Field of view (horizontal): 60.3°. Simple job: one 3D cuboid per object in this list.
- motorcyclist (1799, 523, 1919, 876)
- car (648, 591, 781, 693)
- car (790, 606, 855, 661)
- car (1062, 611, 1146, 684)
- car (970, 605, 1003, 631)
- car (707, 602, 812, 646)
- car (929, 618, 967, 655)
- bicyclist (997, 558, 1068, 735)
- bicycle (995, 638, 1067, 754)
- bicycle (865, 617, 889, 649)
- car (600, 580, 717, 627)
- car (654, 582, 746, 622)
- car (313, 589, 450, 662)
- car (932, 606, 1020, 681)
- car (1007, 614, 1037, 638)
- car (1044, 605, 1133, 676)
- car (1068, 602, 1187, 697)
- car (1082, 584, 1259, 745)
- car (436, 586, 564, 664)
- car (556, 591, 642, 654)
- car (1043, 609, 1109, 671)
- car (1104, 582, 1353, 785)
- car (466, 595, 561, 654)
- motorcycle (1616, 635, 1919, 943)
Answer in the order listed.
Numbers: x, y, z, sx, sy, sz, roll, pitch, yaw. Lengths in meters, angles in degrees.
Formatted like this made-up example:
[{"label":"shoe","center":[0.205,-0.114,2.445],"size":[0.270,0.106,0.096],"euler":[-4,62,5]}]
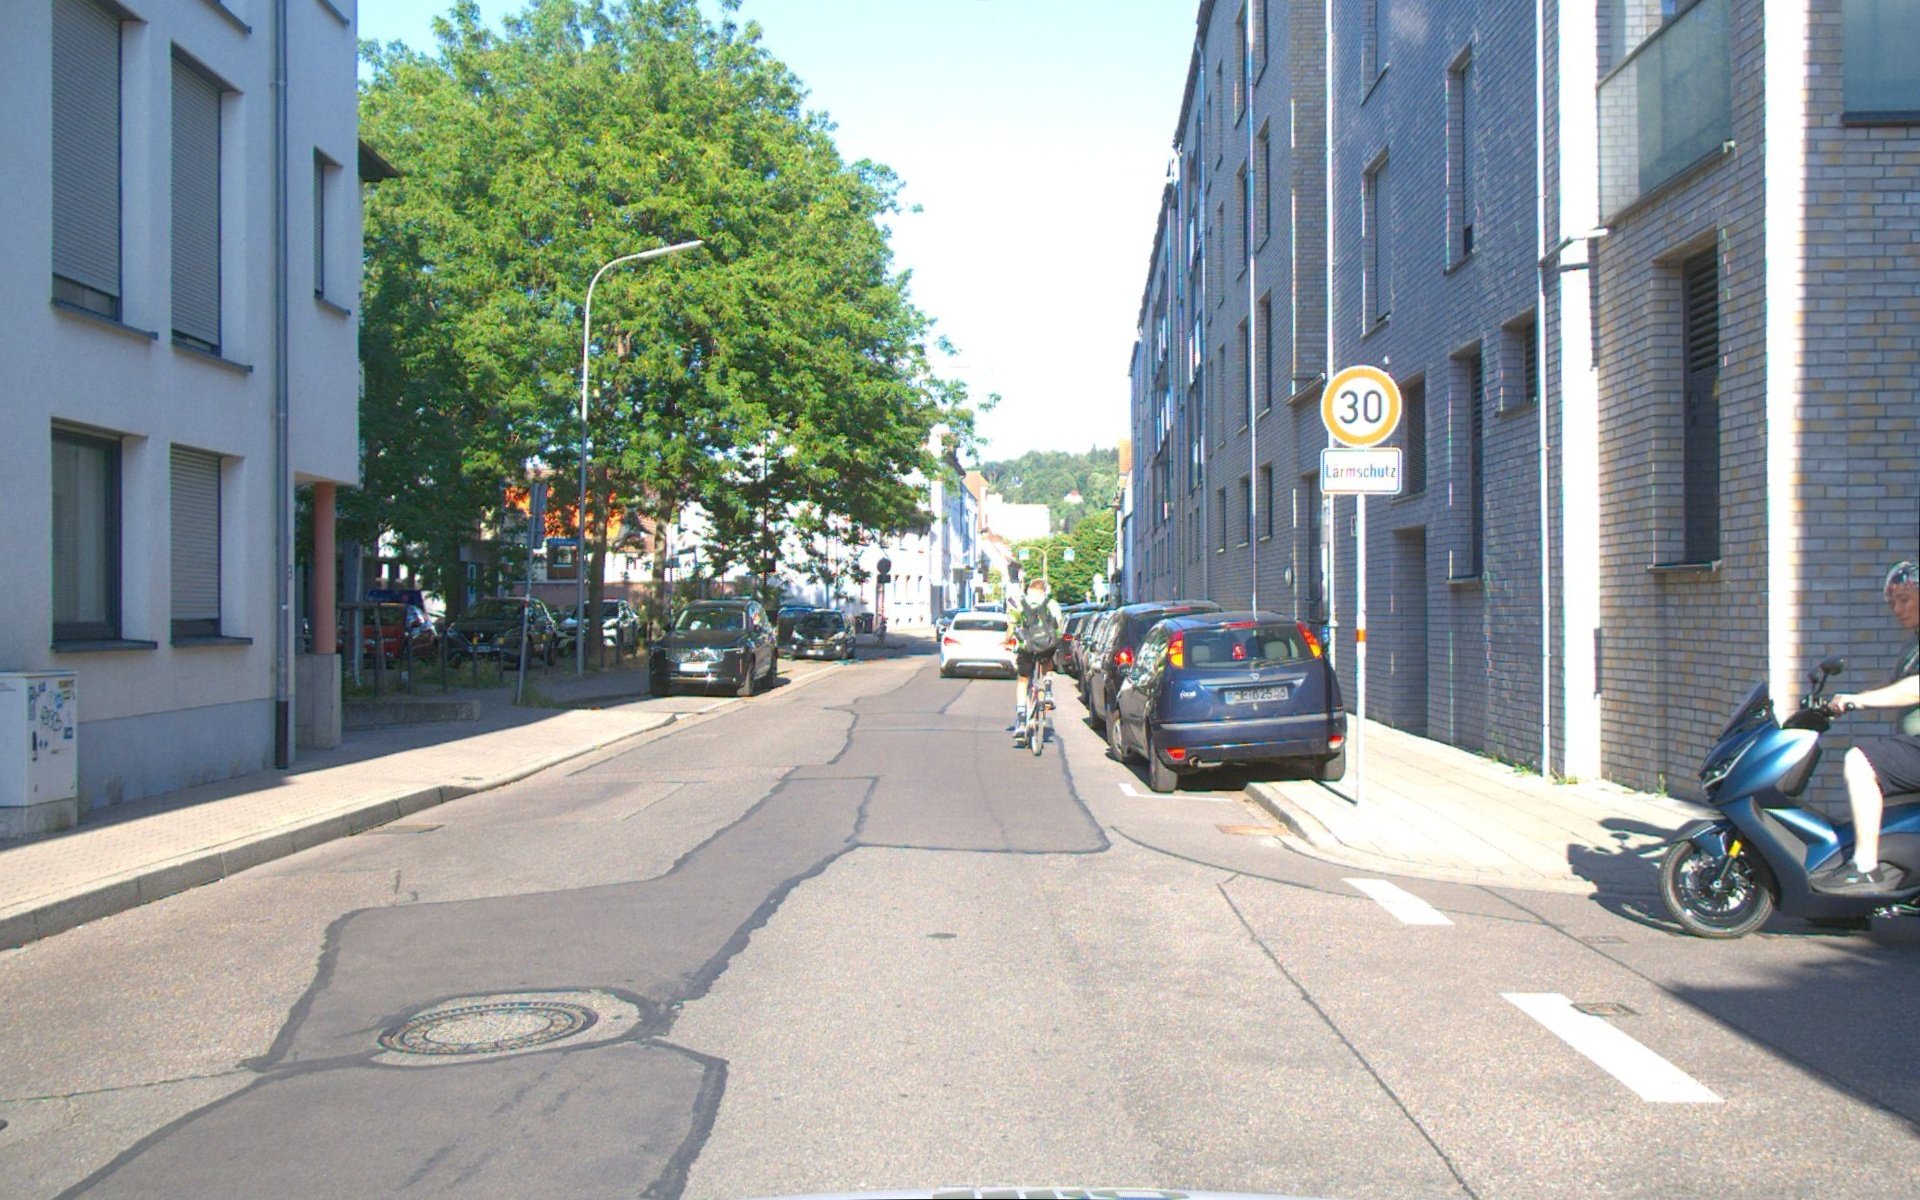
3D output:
[{"label":"motorcyclist","center":[4.276,0.434,7.433],"size":[0.860,1.498,0.894],"euler":[1,-2,29]},{"label":"car","center":[-4.758,0.796,32.719],"size":[1.815,1.823,4.607],"euler":[1,-1,1]},{"label":"car","center":[-4.224,1.018,51.191],"size":[1.669,1.603,3.913],"euler":[1,-1,-1]},{"label":"car","center":[3.092,1.015,36.022],"size":[1.477,1.470,3.529],"euler":[-2,-1,0]},{"label":"car","center":[1.733,1.172,107.183],"size":[1.904,1.615,4.623],"euler":[-2,-1,3]},{"label":"car","center":[-7.892,0.946,65.233],"size":[3.820,1.603,1.710],"euler":[1,-1,2]},{"label":"car","center":[-0.529,1.614,74.245],"size":[1.630,1.603,3.913],"euler":[1,-1,-1]},{"label":"bicyclist","center":[0.765,0.497,17.729],"size":[0.684,1.821,1.040],"euler":[2,-1,1]},{"label":"bicycle","center":[0.743,0.991,17.884],"size":[0.684,1.150,2.403],"euler":[2,-1,1]},{"label":"bicycle","center":[-3.298,1.309,66.150],"size":[0.818,1.239,2.841],"euler":[1,-1,-1]},{"label":"car","center":[-10.945,0.135,60.104],"size":[3.819,1.603,1.711],"euler":[1,-1,5]},{"label":"car","center":[-11.228,0.094,71.709],"size":[3.827,1.603,1.707],"euler":[2,-1,-8]},{"label":"car","center":[-13.099,0.560,37.711],"size":[1.684,1.474,4.141],"euler":[3,0,-2]},{"label":"car","center":[0.300,0.962,36.770],"size":[1.805,1.517,4.143],"euler":[2,-1,-1]},{"label":"car","center":[4.477,1.898,119.636],"size":[1.904,1.615,4.624],"euler":[-2,-1,5]},{"label":"car","center":[3.161,0.994,41.391],"size":[1.820,1.615,4.621],"euler":[-2,-1,0]},{"label":"car","center":[3.055,0.890,30.996],"size":[1.819,1.615,4.622],"euler":[1,-1,1]},{"label":"car","center":[2.469,0.733,20.210],"size":[1.630,1.732,3.913],"euler":[1,-1,0]},{"label":"car","center":[-10.611,0.554,38.512],"size":[1.821,1.614,4.618],"euler":[3,0,-3]},{"label":"car","center":[-10.798,0.662,49.715],"size":[1.754,1.719,3.963],"euler":[3,0,-2]},{"label":"car","center":[3.489,1.202,50.414],"size":[1.819,1.732,4.622],"euler":[-2,-1,2]},{"label":"car","center":[2.378,0.719,15.586],"size":[1.596,1.615,4.068],"euler":[-2,-1,-1]},{"label":"car","center":[-13.333,0.713,49.592],"size":[1.820,1.614,3.670],"euler":[3,0,-1]},{"label":"motorcycle","center":[4.244,0.816,7.445],"size":[2.290,1.303,0.894],"euler":[-1,-3,29]}]
